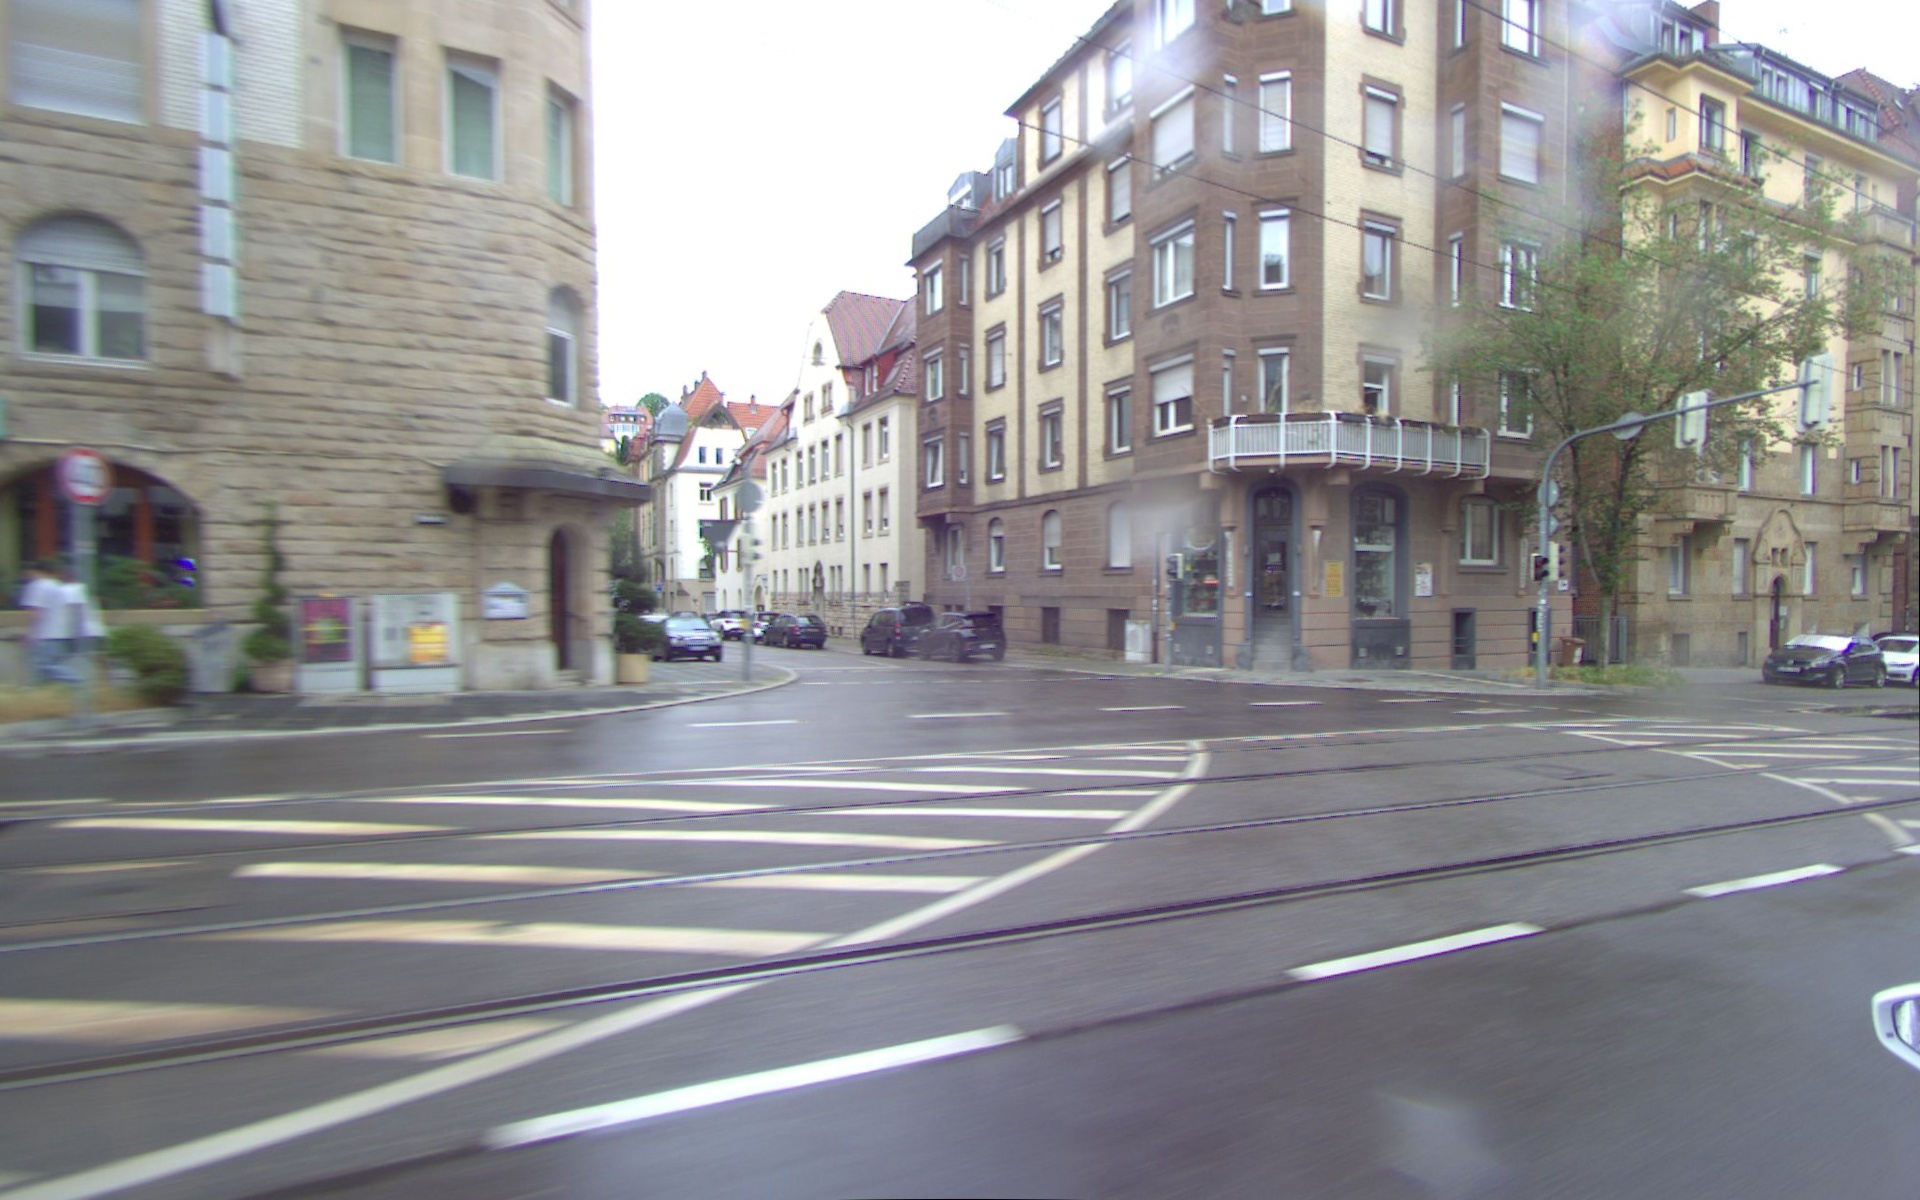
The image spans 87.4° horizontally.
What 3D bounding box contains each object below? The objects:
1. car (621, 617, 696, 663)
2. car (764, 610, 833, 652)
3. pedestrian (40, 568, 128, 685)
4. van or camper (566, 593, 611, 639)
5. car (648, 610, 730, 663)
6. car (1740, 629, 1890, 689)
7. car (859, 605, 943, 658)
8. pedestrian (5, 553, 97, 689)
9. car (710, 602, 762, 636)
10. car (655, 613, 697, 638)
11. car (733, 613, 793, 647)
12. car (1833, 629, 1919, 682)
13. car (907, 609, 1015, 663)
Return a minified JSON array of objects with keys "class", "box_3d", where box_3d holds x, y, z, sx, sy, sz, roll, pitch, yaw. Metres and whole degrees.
[{"class":"car","box_3d":[-10.637,1.363,35.243,1.795,1.502,3.972,1,-2,-27]},{"class":"car","box_3d":[-7.149,1.347,44.145,1.812,1.690,3.972,2,-1,-27]},{"class":"pedestrian","box_3d":[-11.213,0.340,12.886,0.637,1.440,0.752,2,-1,-26]},{"class":"van or camper","box_3d":[-21.499,0.887,58.040,1.912,2.511,4.712,1,-1,-27]},{"class":"car","box_3d":[-8.446,1.106,31.106,1.697,1.511,3.974,1,-2,-26]},{"class":"car","box_3d":[23.760,1.638,27.903,3.948,1.505,1.759,2,-1,-26]},{"class":"car","box_3d":[-2.258,1.131,37.371,1.788,1.836,3.975,2,0,-25]},{"class":"pedestrian","box_3d":[-10.962,0.257,12.134,0.635,1.591,0.516,2,-1,-25]},{"class":"car","box_3d":[-12.238,0.999,54.645,1.972,1.773,3.976,2,-1,-24]},{"class":"car","box_3d":[-19.081,1.735,67.347,1.936,1.625,3.972,2,-3,-28]},{"class":"car","box_3d":[-9.654,1.437,48.963,1.973,1.506,3.975,2,-1,-25]},{"class":"car","box_3d":[28.248,1.658,30.074,4.205,1.445,1.662,2,-1,-26]},{"class":"car","box_3d":[-0.038,1.125,32.541,1.819,1.586,4.196,2,-1,-26]}]
